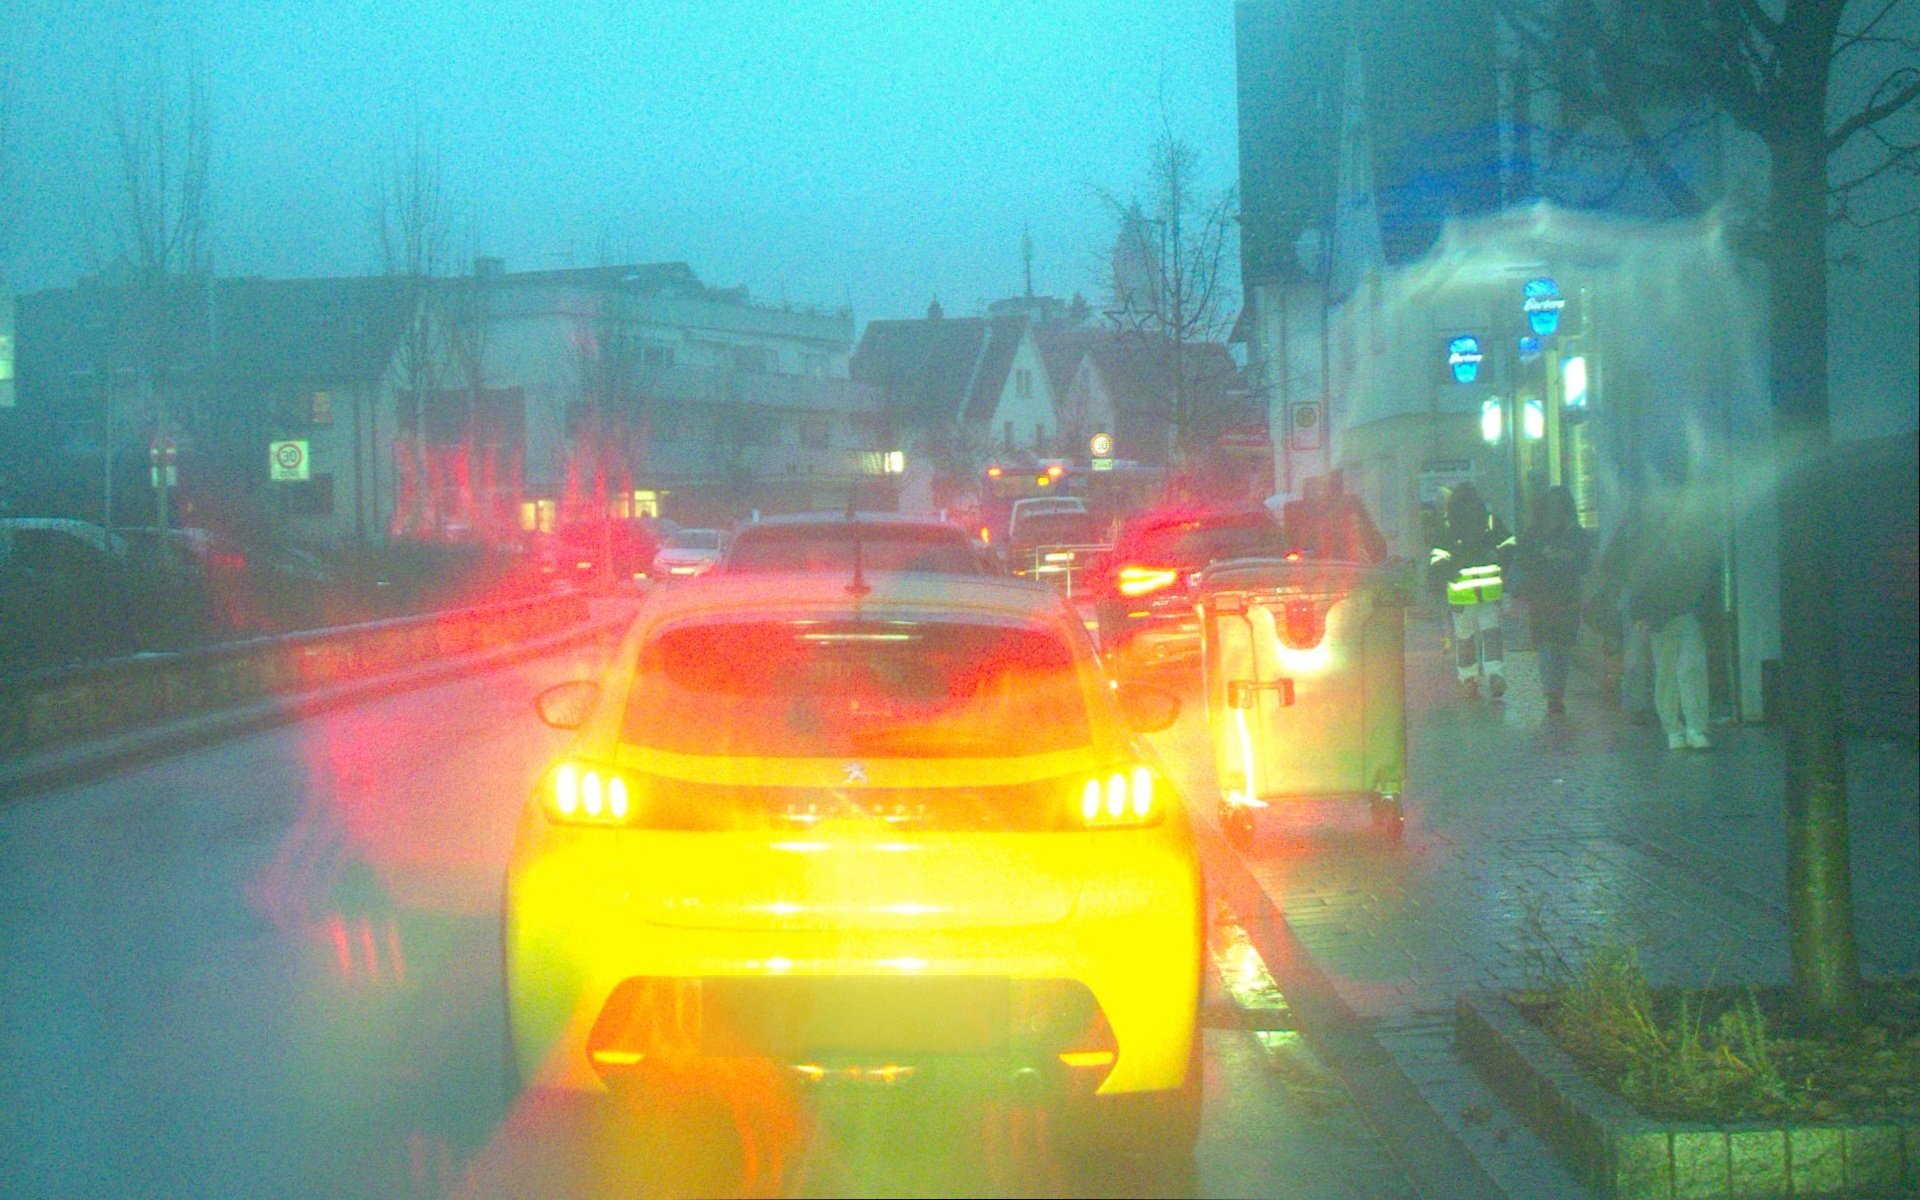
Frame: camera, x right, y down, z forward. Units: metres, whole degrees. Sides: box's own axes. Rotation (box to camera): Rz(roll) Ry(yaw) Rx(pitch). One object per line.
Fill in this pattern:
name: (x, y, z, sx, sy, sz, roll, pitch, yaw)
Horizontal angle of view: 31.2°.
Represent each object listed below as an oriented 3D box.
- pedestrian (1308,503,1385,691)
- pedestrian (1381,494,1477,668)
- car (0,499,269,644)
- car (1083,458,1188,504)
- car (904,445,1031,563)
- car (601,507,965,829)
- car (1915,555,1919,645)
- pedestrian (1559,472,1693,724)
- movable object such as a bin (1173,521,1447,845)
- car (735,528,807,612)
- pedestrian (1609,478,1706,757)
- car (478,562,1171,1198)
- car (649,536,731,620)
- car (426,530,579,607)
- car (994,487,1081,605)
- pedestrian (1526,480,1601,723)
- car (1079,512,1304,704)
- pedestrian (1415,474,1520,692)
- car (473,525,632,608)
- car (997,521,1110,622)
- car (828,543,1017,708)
pedestrian: (3.553, -0.032, 31.612, 0.573, 1.694, 0.653, -3, 0, 1)
pedestrian: (4.478, -0.198, 32.842, 0.618, 1.621, 0.907, -1, 2, -14)
car: (-10.620, -0.336, 40.466, 4.625, 1.662, 2.000, 0, 0, -3)
car: (7.357, -4.999, 144.632, 4.372, 1.820, 2.000, 1, -1, 2)
car: (0.267, -2.688, 97.882, 3.191, 3.021, 6.304, 1, -1, 4)
car: (-0.905, 0.310, 19.339, 1.766, 1.623, 3.586, 1, 1, 1)
car: (2.464, 0.618, 3.701, 1.728, 1.459, 4.198, -3, 0, 2)
pedestrian: (4.579, -0.014, 23.687, 0.747, 1.673, 1.052, -2, 0, 6)
movable object such as a bin: (1.662, 0.368, 16.617, 1.129, 1.415, 1.417, -4, 2, 2)
car: (-5.238, -0.806, 95.606, 1.919, 2.208, 3.975, 1, -1, -2)
pedestrian: (4.224, 0.110, 20.855, 0.529, 1.647, 0.953, 0, -1, 9)
car: (-0.322, 0.623, 9.338, 1.563, 1.408, 3.018, 1, 1, -1)
car: (-6.842, -0.532, 87.546, 1.919, 2.021, 3.975, 1, -1, -2)
car: (-12.210, -0.818, 91.578, 4.166, 1.969, 1.818, 0, -2, 44)
car: (1.719, -1.178, 77.273, 1.870, 2.460, 4.443, 1, -1, 1)
pedestrian: (4.546, -0.002, 25.930, 0.529, 1.794, 0.864, 0, 1, 9)
car: (2.143, 0.035, 32.885, 1.735, 1.686, 4.386, -1, 1, -1)
pedestrian: (4.098, -0.147, 27.721, 0.712, 1.709, 1.034, -2, 2, 13)
car: (-11.219, -0.888, 94.501, 4.383, 2.159, 1.995, 0, -2, 44)
car: (1.730, -0.538, 64.798, 1.997, 1.858, 4.083, 0, 0, 0)
car: (-0.329, 0.186, 29.984, 1.541, 1.327, 3.311, 1, 1, -1)
